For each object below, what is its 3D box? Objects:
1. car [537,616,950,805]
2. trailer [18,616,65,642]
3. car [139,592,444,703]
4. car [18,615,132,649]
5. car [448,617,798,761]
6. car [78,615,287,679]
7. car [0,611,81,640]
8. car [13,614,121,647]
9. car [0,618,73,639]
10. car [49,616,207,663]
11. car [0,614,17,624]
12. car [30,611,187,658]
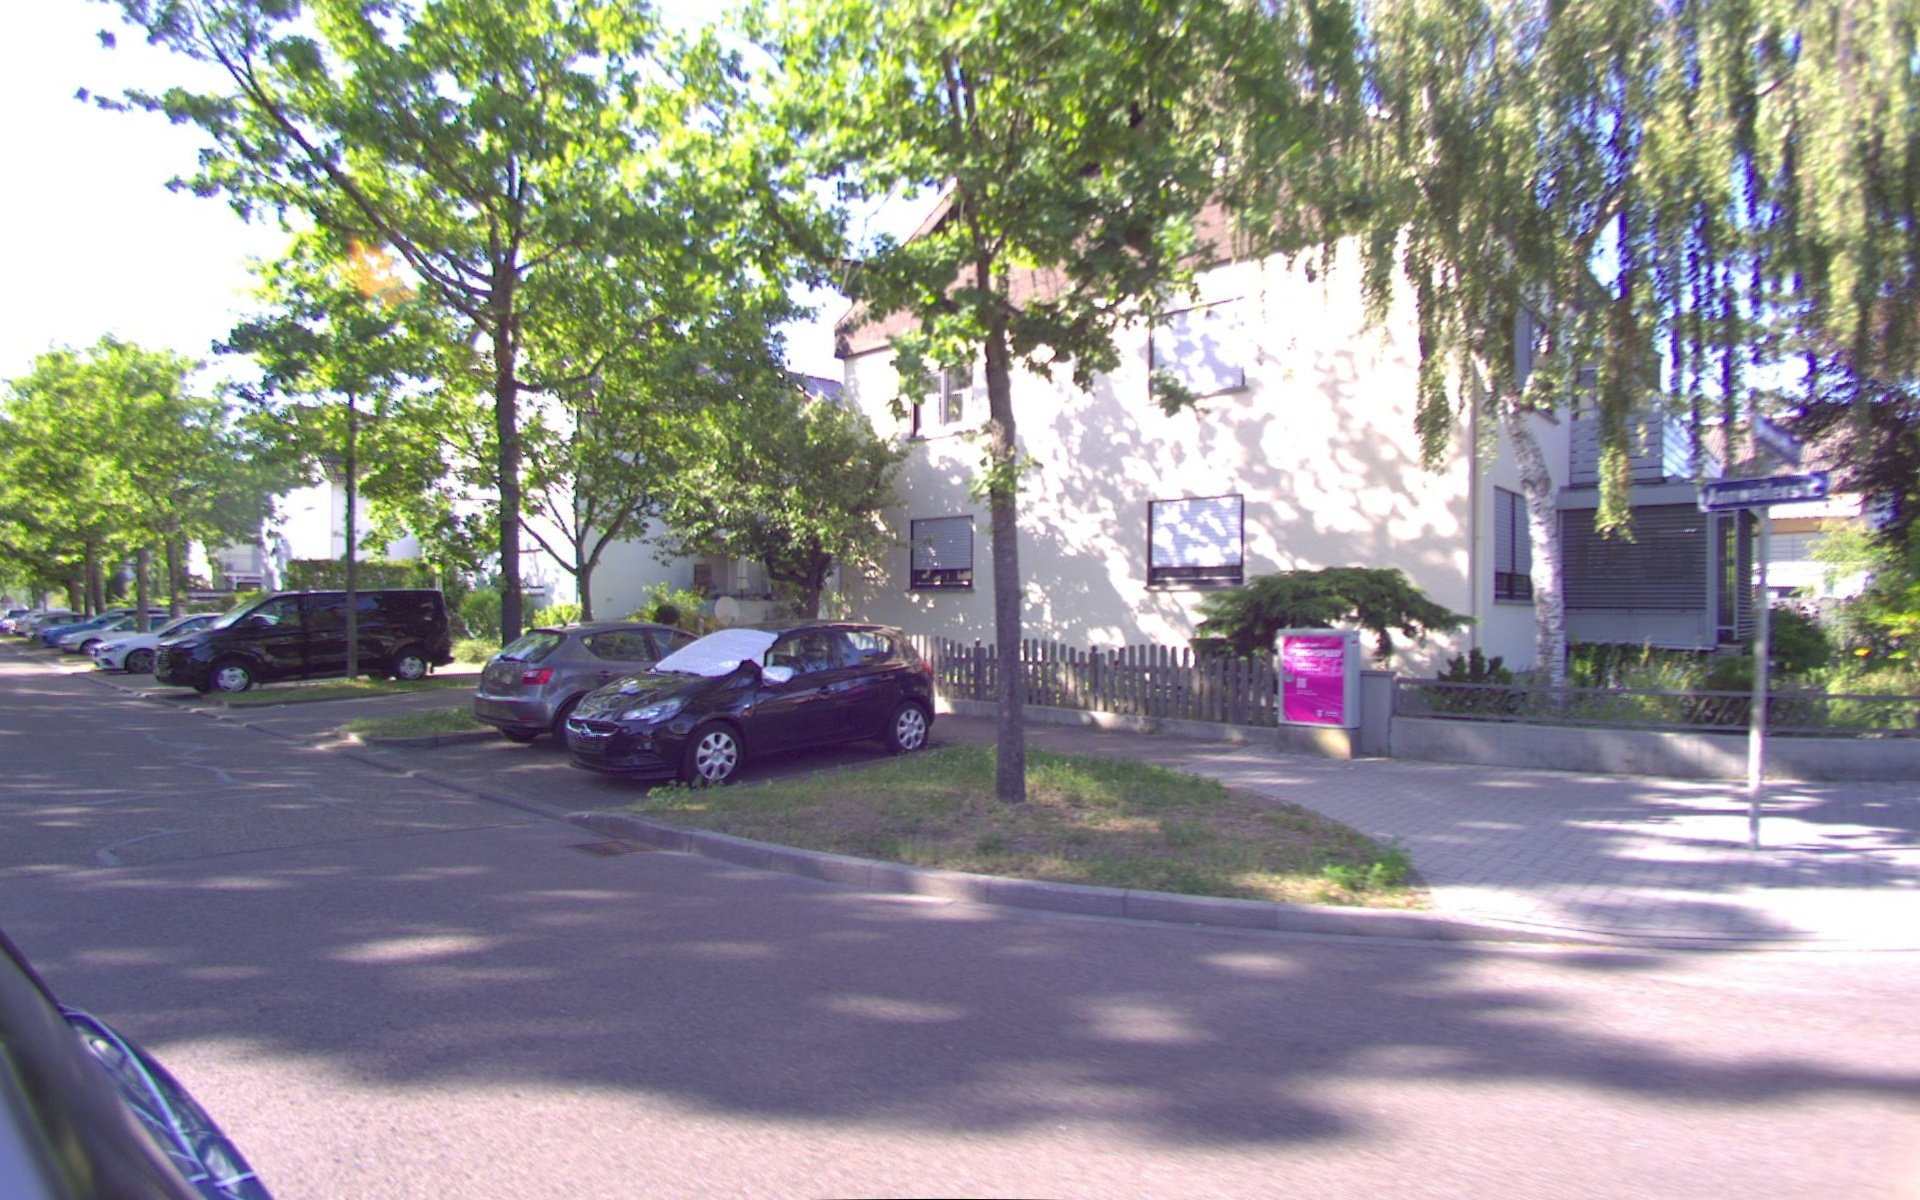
[{"bbox_3d":[-2.046,0.944,10.315,1.714,1.470,3.815,-1,0,43],"label":"car"},{"bbox_3d":[-59.489,1.865,65.573,2.208,1.686,1.476,1,-1,-41],"label":"trailer"},{"bbox_3d":[-13.189,0.831,20.226,2.018,1.931,4.728,-1,0,41],"label":"car"},{"bbox_3d":[-42.982,1.532,49.192,1.810,1.434,3.990,-1,1,43],"label":"car"},{"bbox_3d":[-4.071,0.969,12.652,1.771,1.430,3.779,-1,0,41],"label":"car"},{"bbox_3d":[-20.871,1.193,27.289,1.769,1.489,4.228,-1,0,43],"label":"car"},{"bbox_3d":[-62.972,1.712,69.181,2.000,1.959,4.191,-1,-1,42],"label":"car"},{"bbox_3d":[-46.700,1.562,52.949,4.139,1.579,1.793,-2,0,-44],"label":"car"},{"bbox_3d":[-69.843,2.155,76.167,1.836,1.511,4.428,-1,-1,43],"label":"car"},{"bbox_3d":[-29.324,1.352,35.760,1.647,1.503,4.136,-1,0,43],"label":"car"},{"bbox_3d":[-145.735,2.846,154.878,1.715,1.552,3.954,1,-1,-39],"label":"car"},{"bbox_3d":[-32.790,1.280,39.052,4.472,1.643,1.939,-1,0,-45],"label":"car"}]
